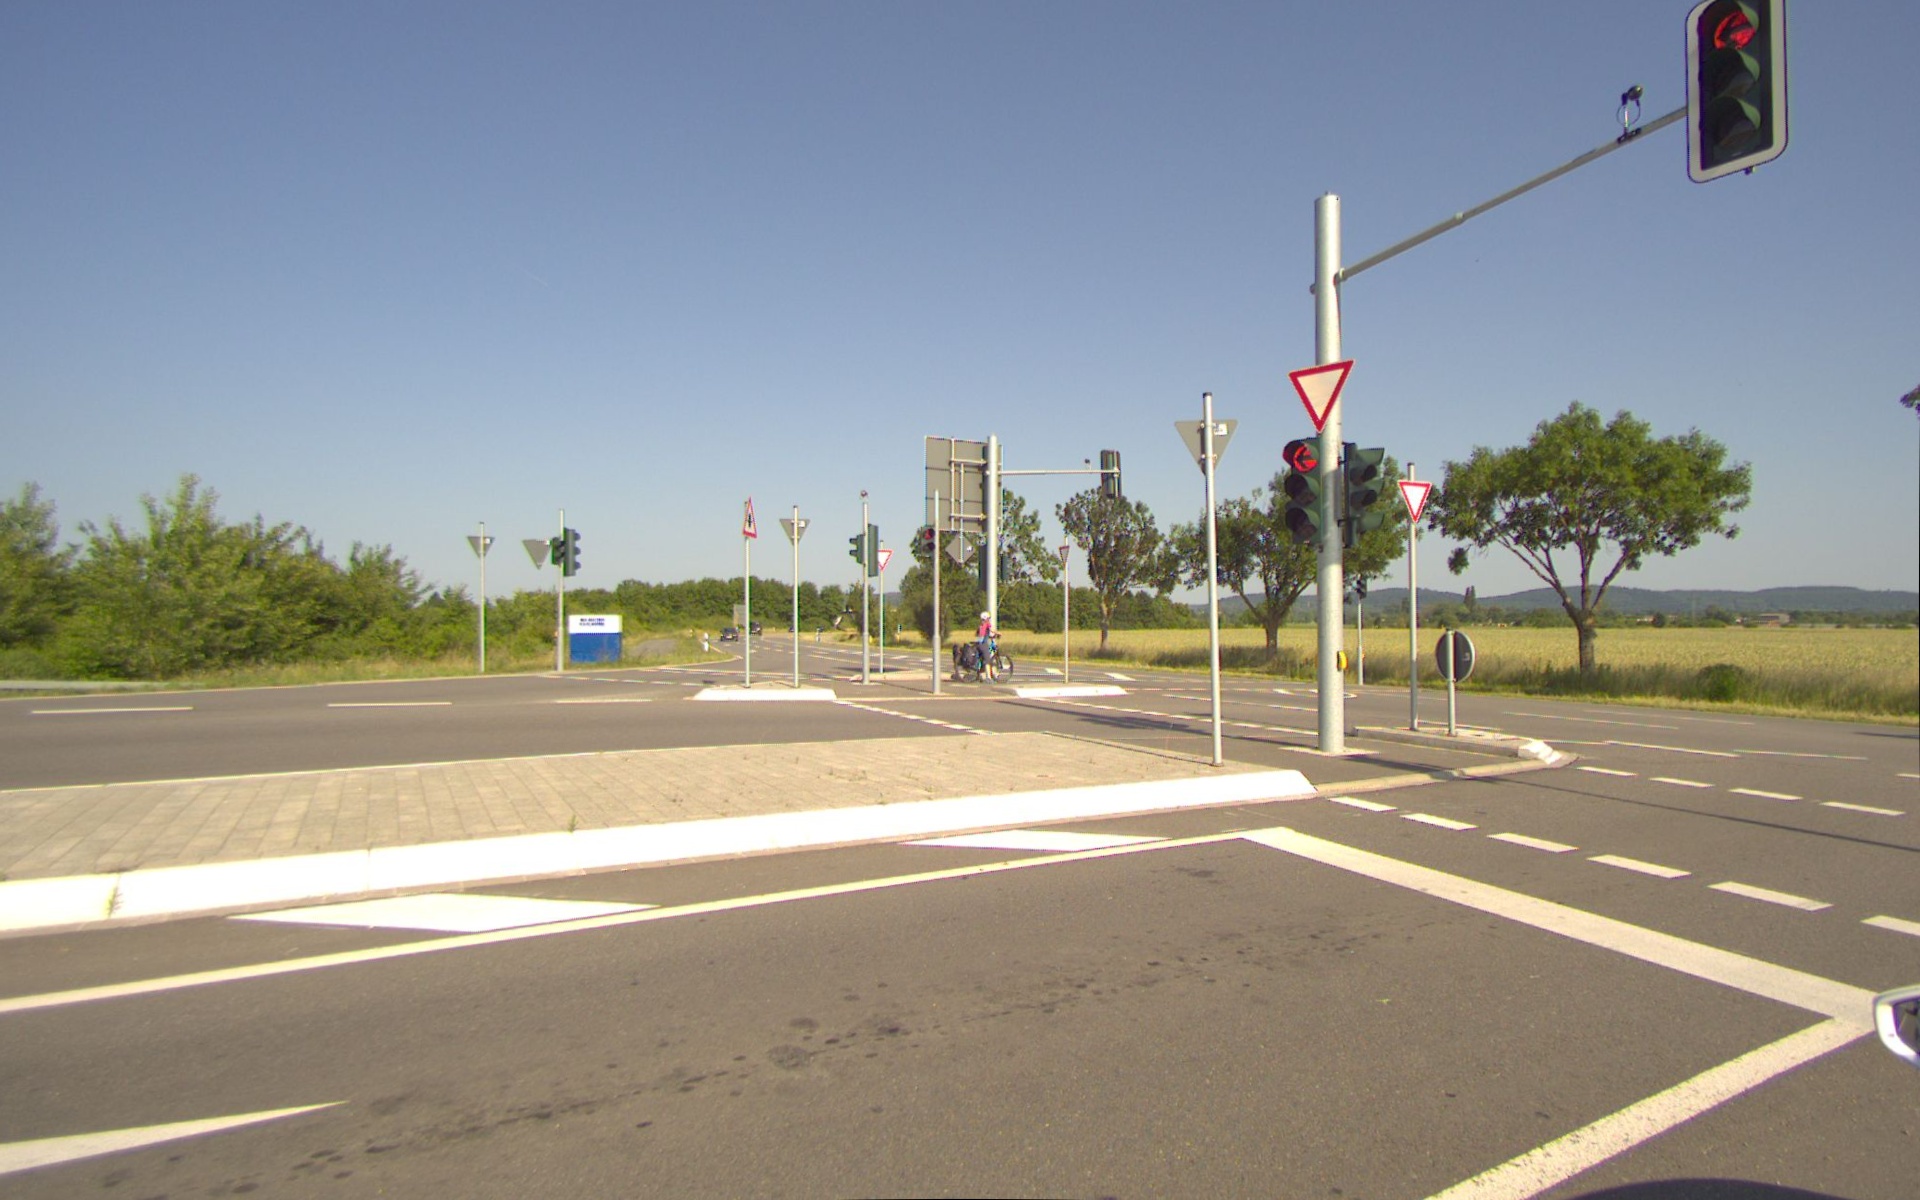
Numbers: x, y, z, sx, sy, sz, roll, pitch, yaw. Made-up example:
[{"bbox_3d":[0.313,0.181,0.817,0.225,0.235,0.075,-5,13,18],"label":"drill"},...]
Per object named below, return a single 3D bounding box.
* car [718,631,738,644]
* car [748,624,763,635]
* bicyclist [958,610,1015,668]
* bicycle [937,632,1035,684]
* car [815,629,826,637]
[{"bbox_3d":[-22.176,3.594,96.293,1.710,1.127,3.992,2,-2,-11],"label":"car"},{"bbox_3d":[-30.233,4.370,148.528,1.828,1.562,3.996,1,-2,-7],"label":"car"},{"bbox_3d":[0.651,0.950,24.385,1.062,1.369,0.851,2,-1,-31],"label":"bicyclist"},{"bbox_3d":[0.638,1.408,24.314,2.126,1.164,1.065,3,-1,-31],"label":"bicycle"},{"bbox_3d":[-29.660,7.043,213.591,1.695,1.544,3.470,2,-1,1],"label":"car"}]
